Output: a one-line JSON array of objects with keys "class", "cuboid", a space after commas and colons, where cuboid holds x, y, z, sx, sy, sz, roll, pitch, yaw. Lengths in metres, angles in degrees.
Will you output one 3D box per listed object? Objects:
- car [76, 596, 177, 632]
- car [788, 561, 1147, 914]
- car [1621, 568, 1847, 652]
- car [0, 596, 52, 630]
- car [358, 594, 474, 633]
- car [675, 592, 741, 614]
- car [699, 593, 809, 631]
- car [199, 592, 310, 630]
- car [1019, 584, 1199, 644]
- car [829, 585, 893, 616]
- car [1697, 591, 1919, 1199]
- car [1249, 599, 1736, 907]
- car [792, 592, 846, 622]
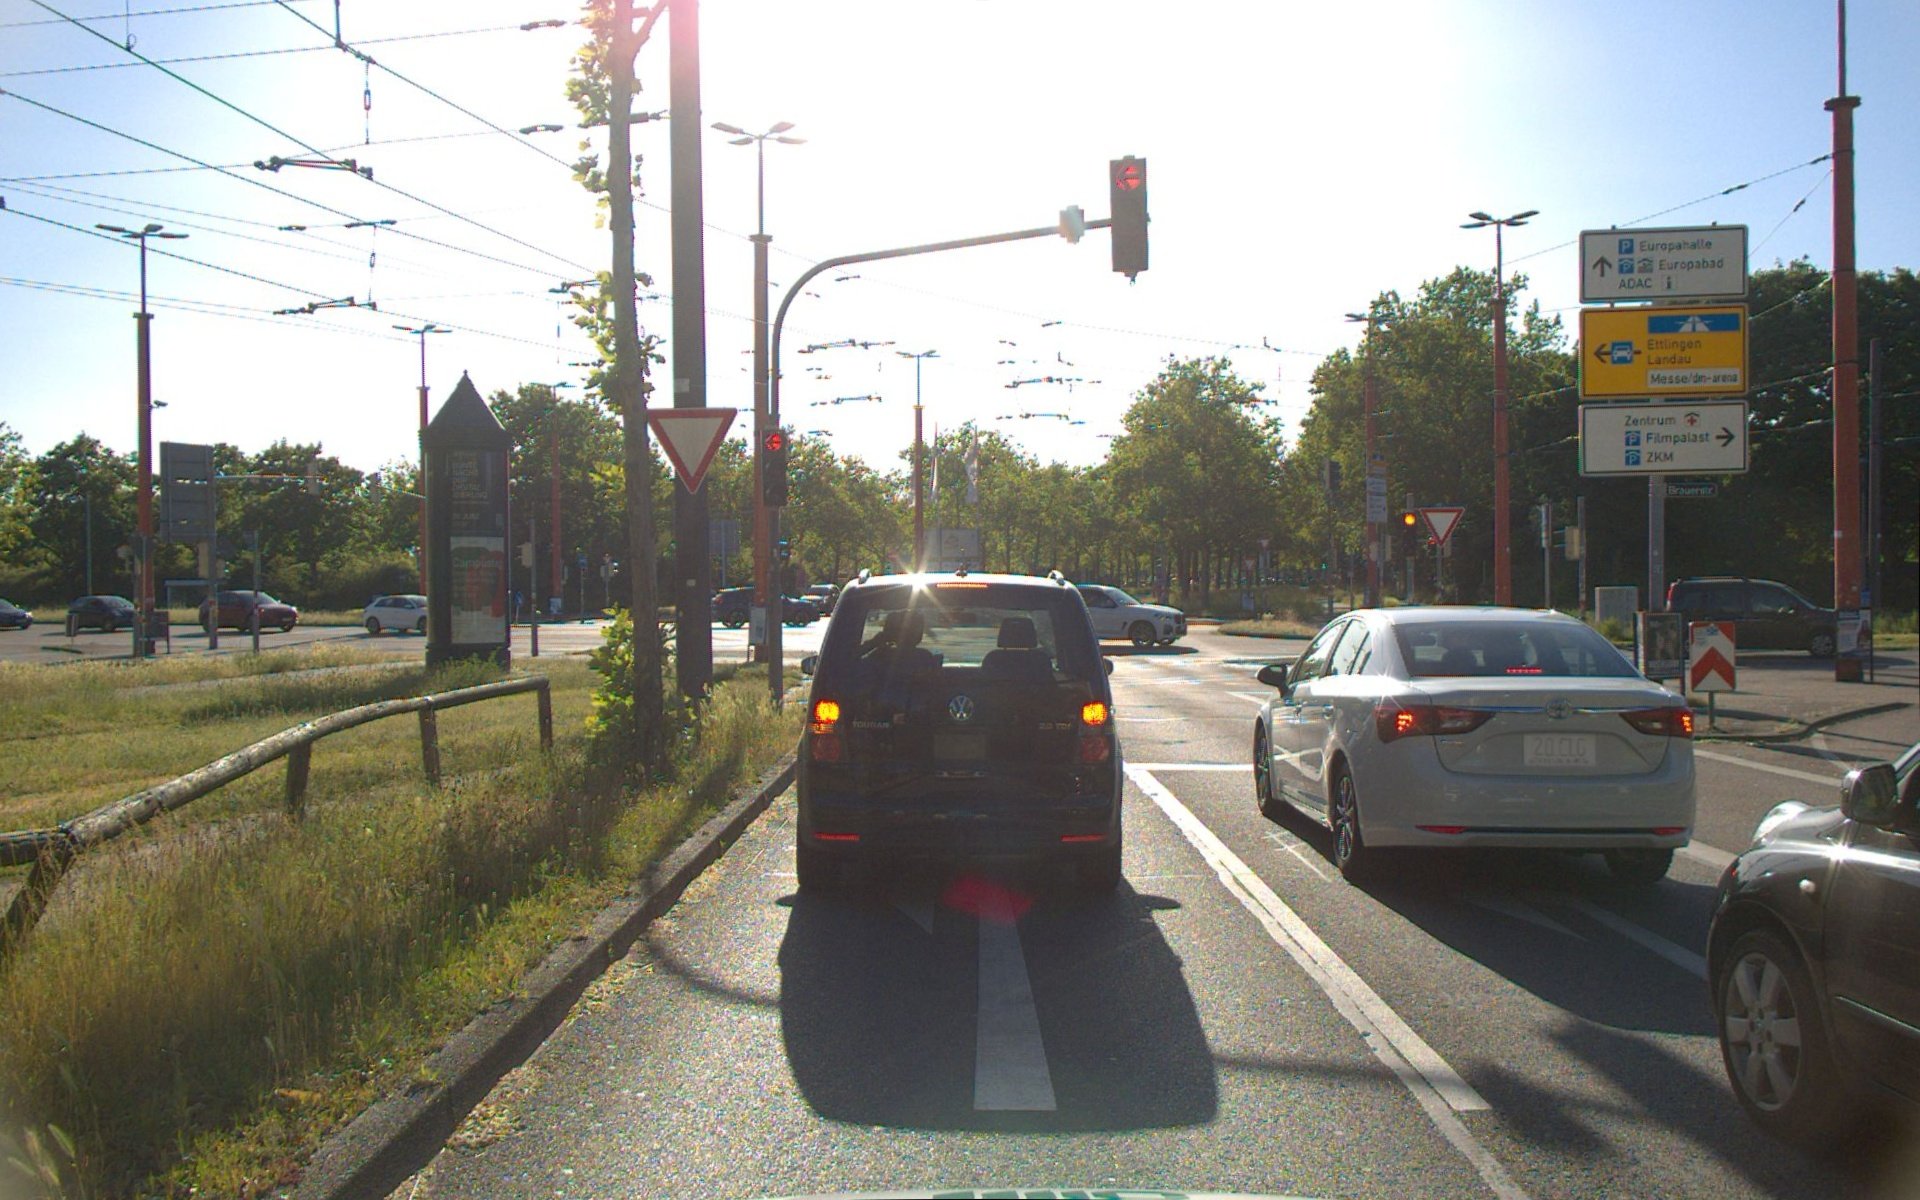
[{"class": "car", "cuboid": [-36.025, 0.593, 71.451, 3.963, 1.489, 1.912, 0, 0, 26]}, {"class": "car", "cuboid": [0.008, 0.644, 9.865, 1.702, 1.670, 3.999, 0, 0, -1]}, {"class": "car", "cuboid": [18.107, 0.222, 38.794, 4.687, 1.868, 1.912, 0, 0, 27]}, {"class": "car", "cuboid": [-43.796, 0.578, 75.645, 4.143, 1.489, 1.913, 0, 0, 26]}, {"class": "car", "cuboid": [-20.994, 0.504, 63.827, 4.127, 1.489, 1.912, 0, 0, 27]}, {"class": "car", "cuboid": [-15.687, 0.204, 103.170, 3.765, 1.333, 1.645, 0, 0, -32]}, {"class": "car", "cuboid": [-8.378, 0.475, 67.367, 4.148, 1.489, 1.902, 0, 0, -21]}, {"class": "car", "cuboid": [-28.940, 0.441, 67.836, 4.275, 1.489, 1.912, 0, 0, 27]}, {"class": "car", "cuboid": [4.163, 0.373, 46.409, 4.687, 1.626, 1.912, 0, 0, 27]}, {"class": "car", "cuboid": [-5.445, 0.023, 91.650, 1.951, 1.714, 4.831, 0, 0, 17]}, {"class": "car", "cuboid": [3.129, 0.743, 3.510, 1.525, 1.532, 3.515, 0, 0, -1]}, {"class": "car", "cuboid": [2.950, 0.741, 10.110, 1.679, 1.480, 4.144, 0, 0, 0]}, {"class": "car", "cuboid": [-8.218, 0.405, 96.985, 1.951, 1.714, 4.833, 0, 0, 10]}]
